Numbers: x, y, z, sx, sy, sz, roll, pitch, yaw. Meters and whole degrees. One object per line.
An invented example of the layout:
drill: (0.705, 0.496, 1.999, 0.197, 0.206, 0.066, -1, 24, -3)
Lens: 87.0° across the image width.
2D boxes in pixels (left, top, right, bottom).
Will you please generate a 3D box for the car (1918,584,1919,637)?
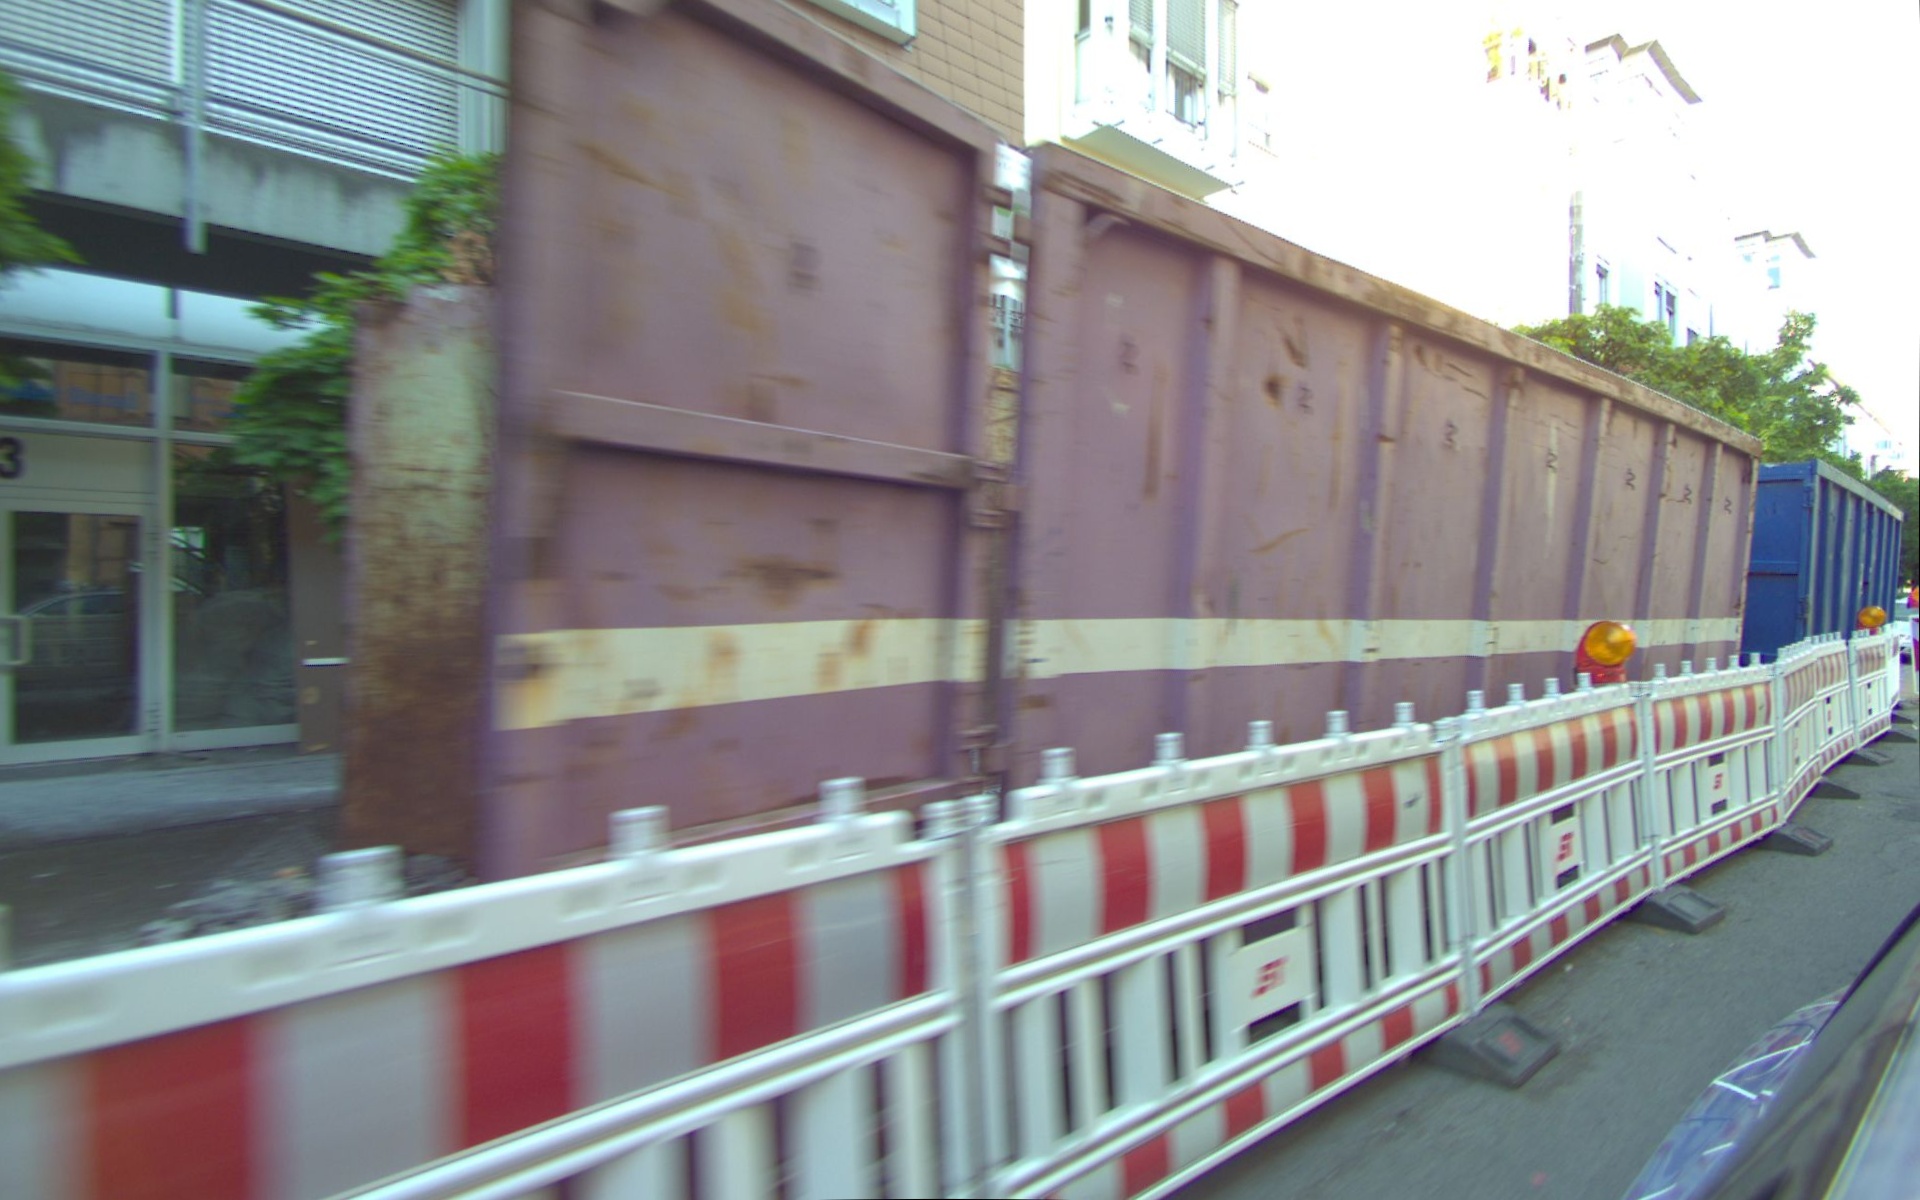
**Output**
car: (33.021, 0.315, 33.205, 4.313, 1.710, 1.862, -1, 0, -40)

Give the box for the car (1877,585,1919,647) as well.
car: (26.449, 0.397, 27.351, 3.928, 1.605, 1.912, -1, 0, -39)

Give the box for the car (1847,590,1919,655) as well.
car: (22.878, 0.498, 24.380, 3.994, 1.465, 1.637, -1, 0, -39)
